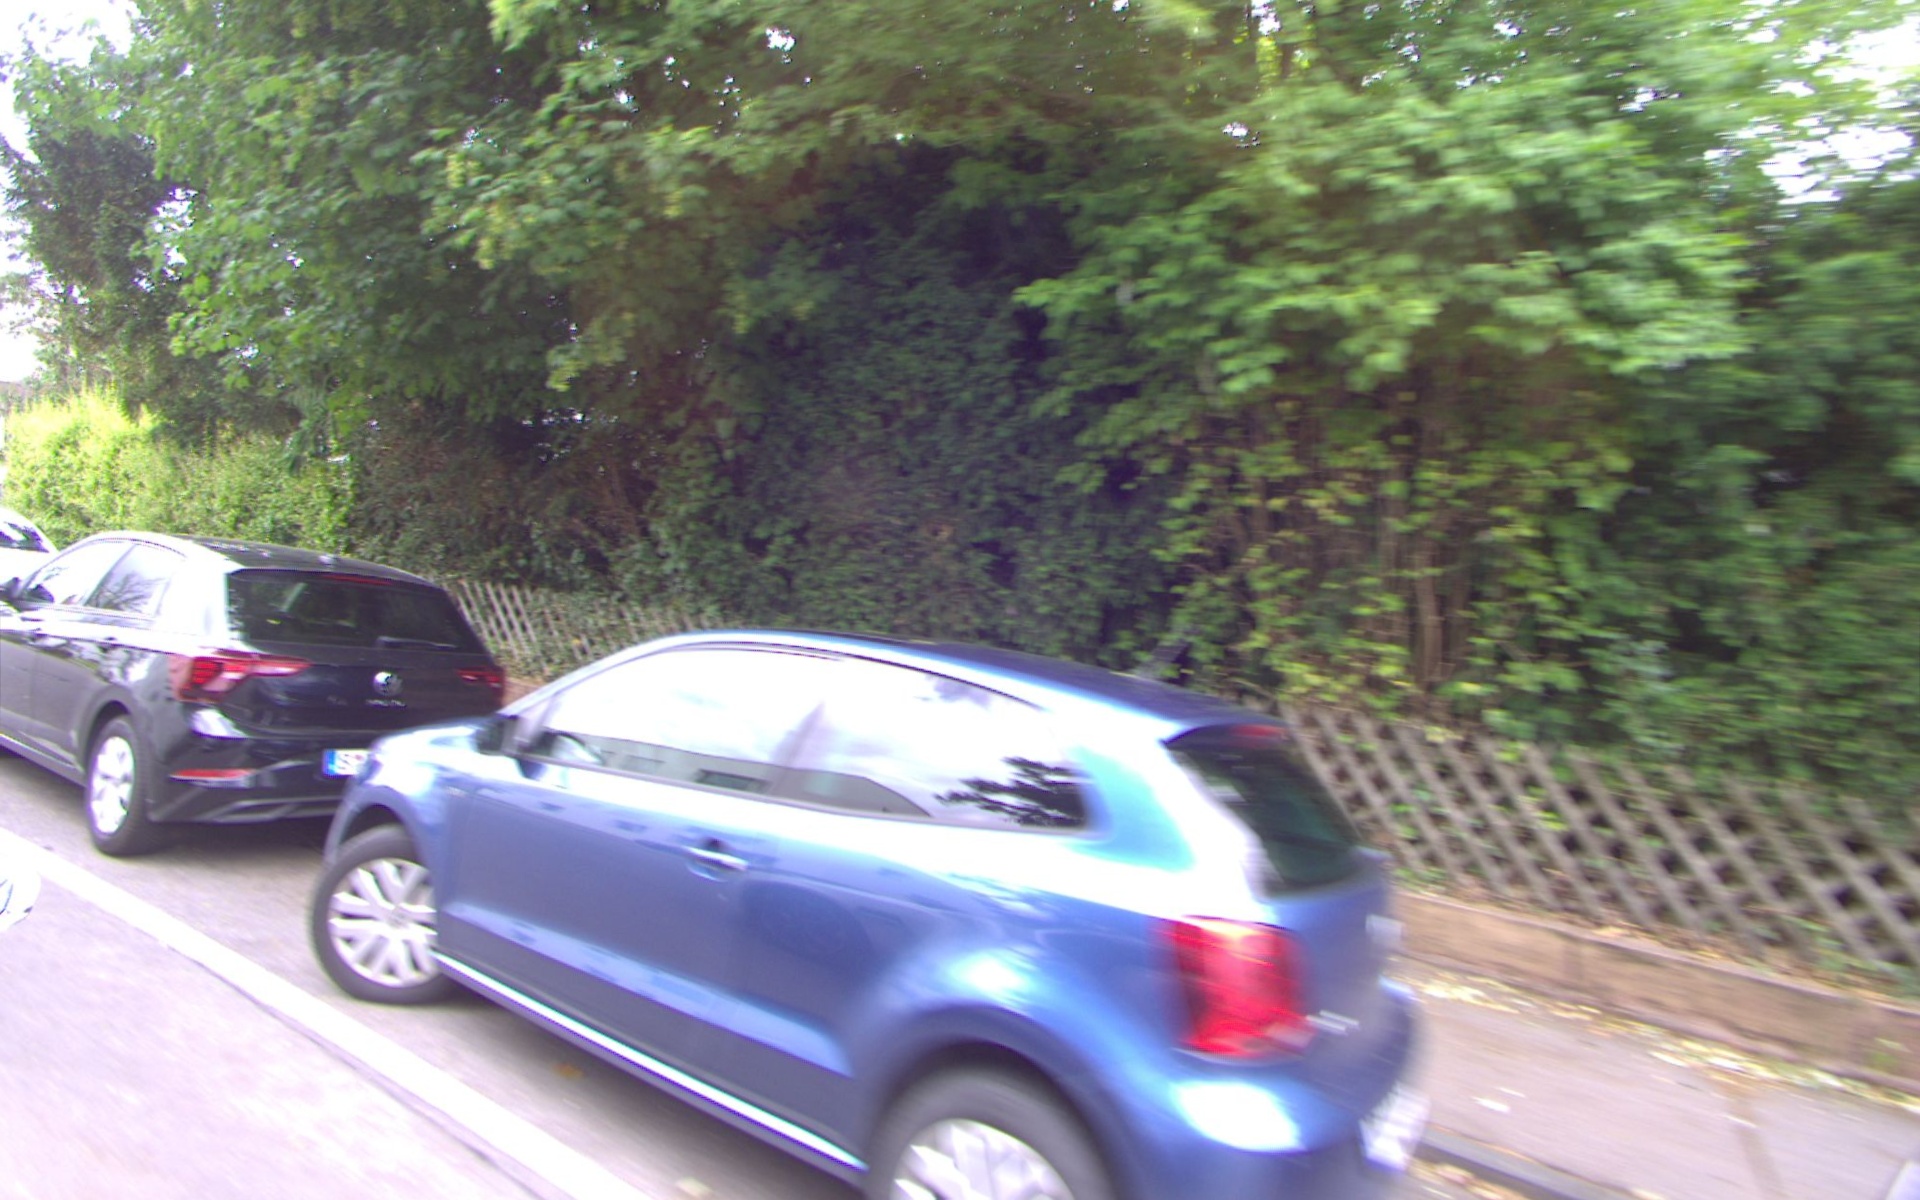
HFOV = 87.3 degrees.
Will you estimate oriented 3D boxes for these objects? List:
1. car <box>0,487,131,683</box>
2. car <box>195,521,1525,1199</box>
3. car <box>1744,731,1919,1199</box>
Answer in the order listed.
[{"bbox_3d":[-9.546,-0.360,8.899,4.923,1.510,1.994,7,1,33],"label":"car"},{"bbox_3d":[-0.582,0.744,3.344,4.092,1.526,1.700,7,-2,33],"label":"car"},{"bbox_3d":[3.565,1.229,0.792,4.303,1.471,1.813,6,1,28],"label":"car"}]
